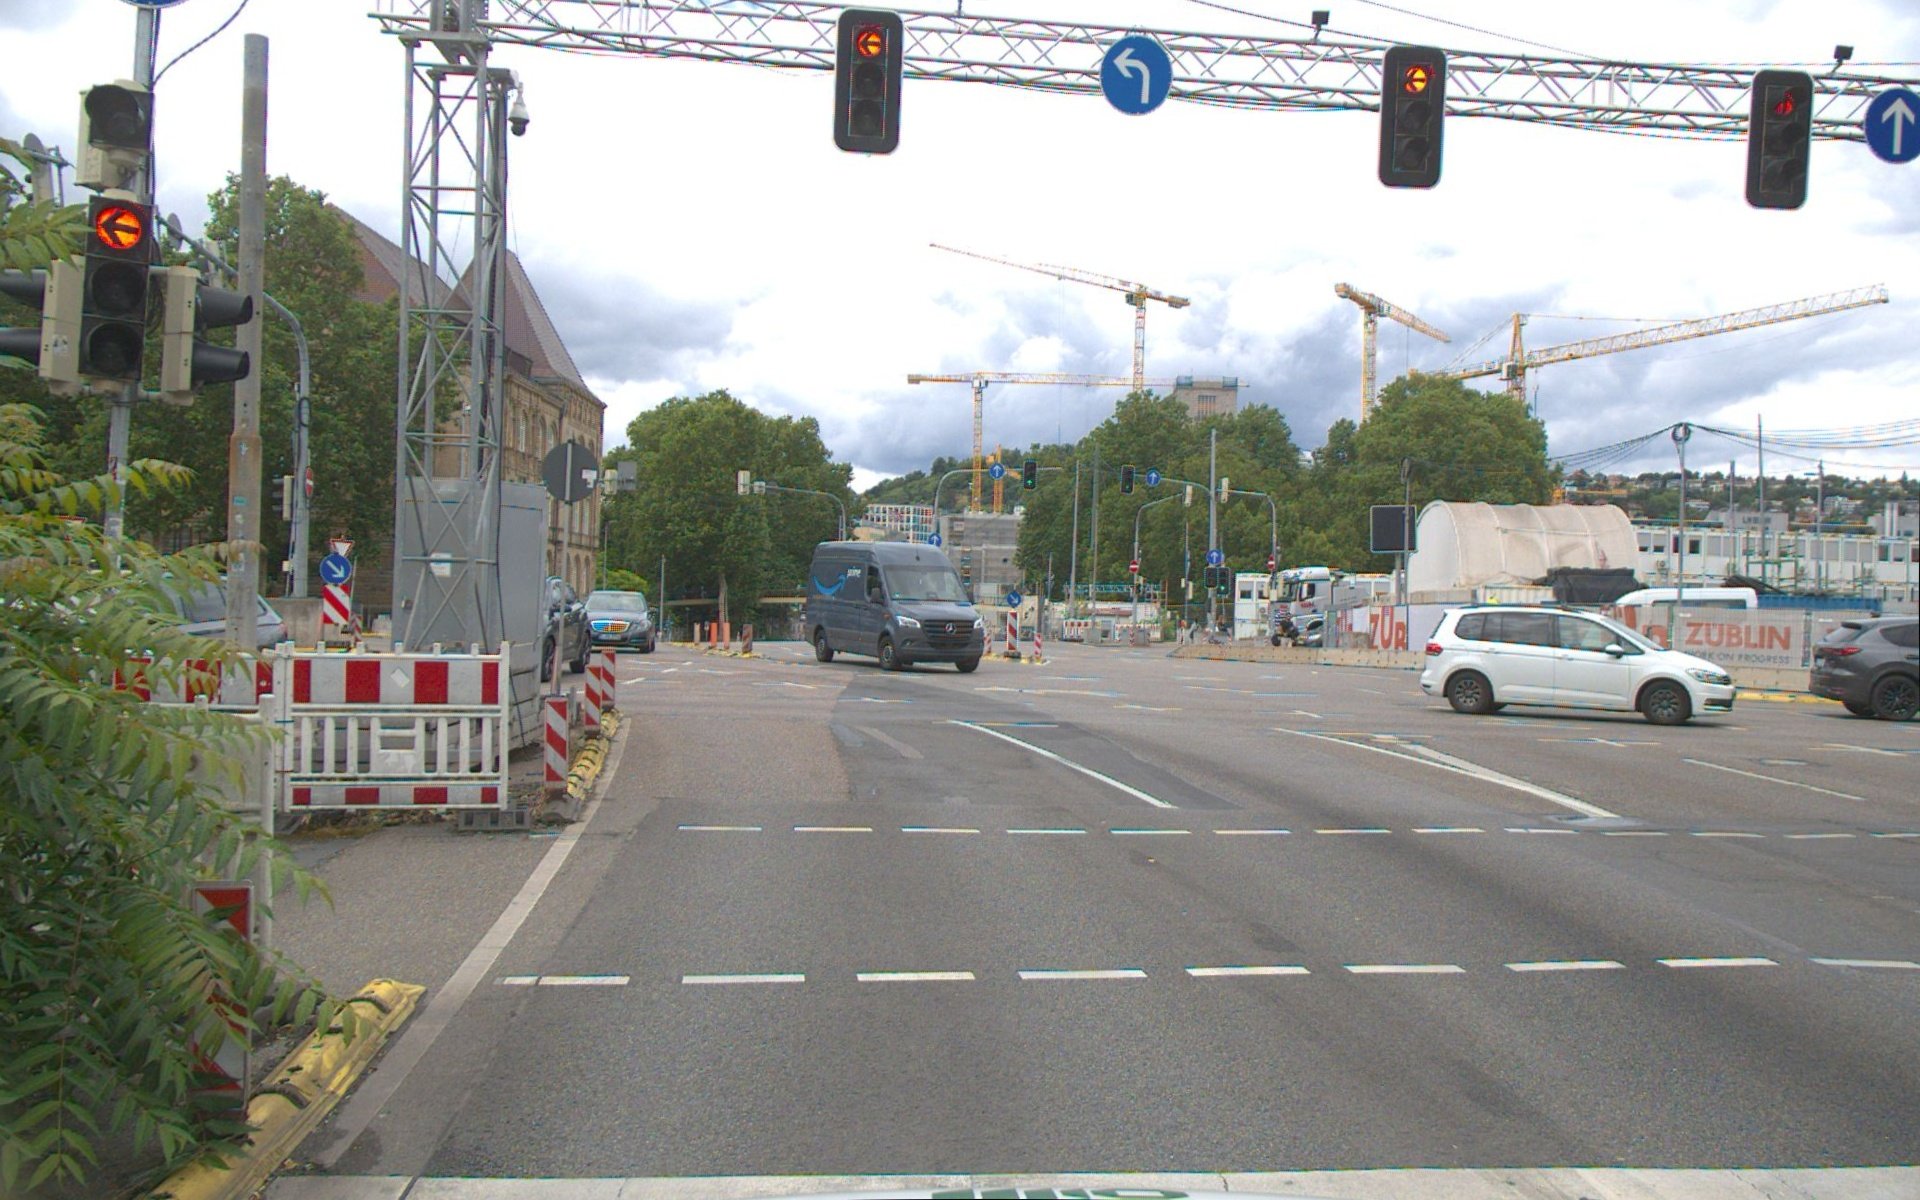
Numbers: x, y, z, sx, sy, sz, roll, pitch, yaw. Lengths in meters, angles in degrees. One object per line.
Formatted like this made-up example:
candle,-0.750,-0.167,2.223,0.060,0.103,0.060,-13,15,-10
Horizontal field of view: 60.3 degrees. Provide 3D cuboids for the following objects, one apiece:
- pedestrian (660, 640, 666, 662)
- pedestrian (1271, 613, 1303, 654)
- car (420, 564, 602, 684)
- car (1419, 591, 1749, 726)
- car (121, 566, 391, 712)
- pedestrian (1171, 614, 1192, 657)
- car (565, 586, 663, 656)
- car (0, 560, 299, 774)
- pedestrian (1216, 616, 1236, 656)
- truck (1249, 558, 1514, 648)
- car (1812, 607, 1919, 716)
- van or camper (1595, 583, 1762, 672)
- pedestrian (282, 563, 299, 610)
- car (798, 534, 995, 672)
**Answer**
pedestrian,-28.378,4.837,158.047,0.513,2.049,0.566,1,0,-1
pedestrian,11.562,1.187,58.539,0.783,1.402,0.902,2,0,-13
car,-7.006,0.330,26.273,1.840,1.699,4.442,2,0,-3
car,9.349,0.809,24.881,4.350,1.766,1.879,2,0,32
car,-8.294,0.410,19.909,1.673,1.540,4.285,-1,0,-4
pedestrian,9.080,1.455,67.728,0.714,1.718,0.677,2,0,-1
car,-8.197,0.475,39.506,1.673,1.540,4.285,2,0,-4
car,-7.332,0.438,13.892,1.840,1.498,4.443,2,0,-2
pedestrian,11.660,1.562,72.464,0.609,1.718,0.710,2,0,28
truck,21.017,0.196,82.316,12.837,4.111,3.927,1,0,-21
car,16.731,1.037,27.177,4.497,1.699,1.885,2,0,14
van or camper,20.740,0.760,47.907,4.123,2.398,2.001,1,0,14
pedestrian,-29.519,-0.584,72.890,0.523,2.049,0.421,2,0,-44
car,-1.476,0.034,34.803,2.030,2.639,5.968,1,0,-24
